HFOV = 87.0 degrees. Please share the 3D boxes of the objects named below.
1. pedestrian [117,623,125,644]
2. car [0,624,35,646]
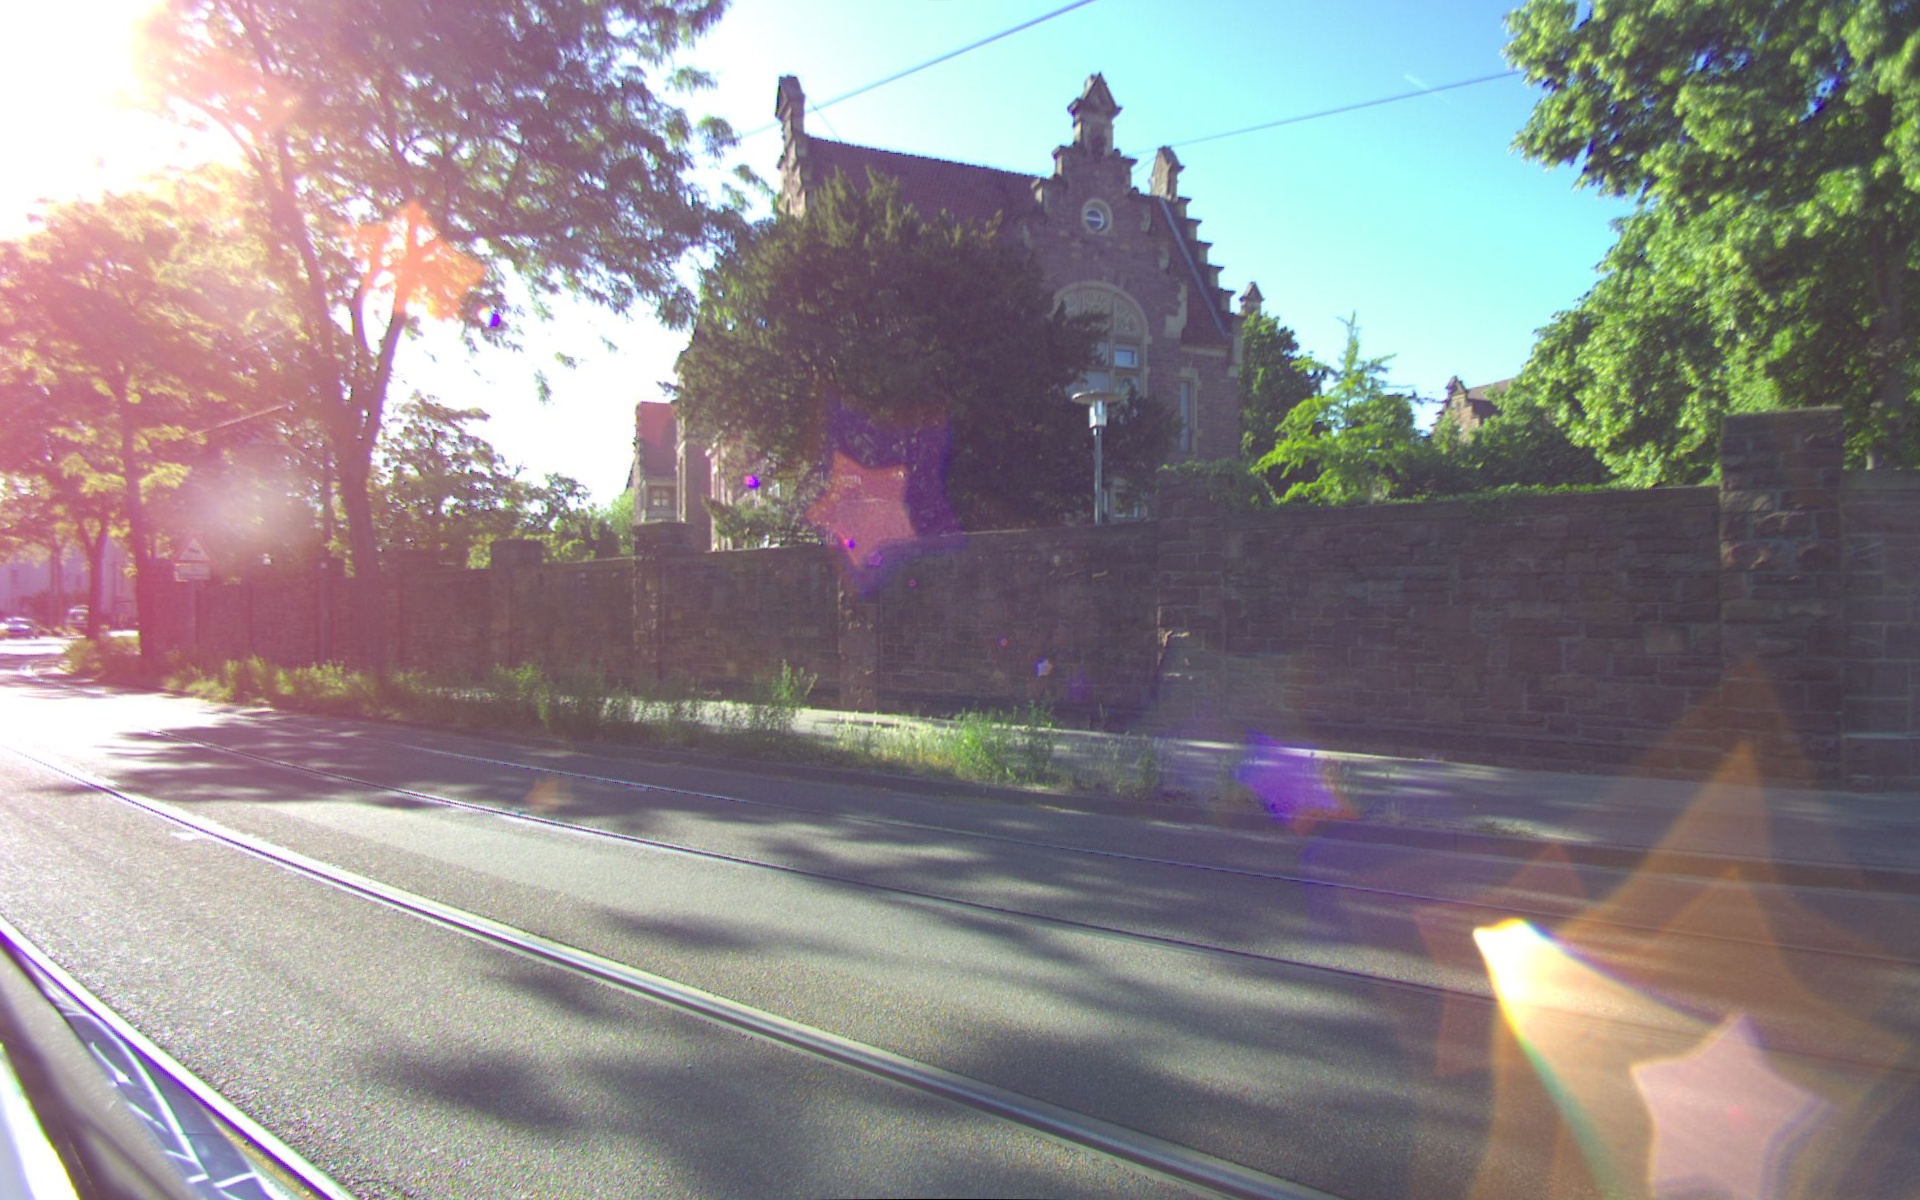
[{"bbox_3d":[-76.842,3.054,92.695,0.516,1.847,0.588,0,-1,-34],"label":"pedestrian"},{"bbox_3d":[-68.902,2.516,73.829,1.969,1.560,4.005,0,-1,-41],"label":"car"}]
